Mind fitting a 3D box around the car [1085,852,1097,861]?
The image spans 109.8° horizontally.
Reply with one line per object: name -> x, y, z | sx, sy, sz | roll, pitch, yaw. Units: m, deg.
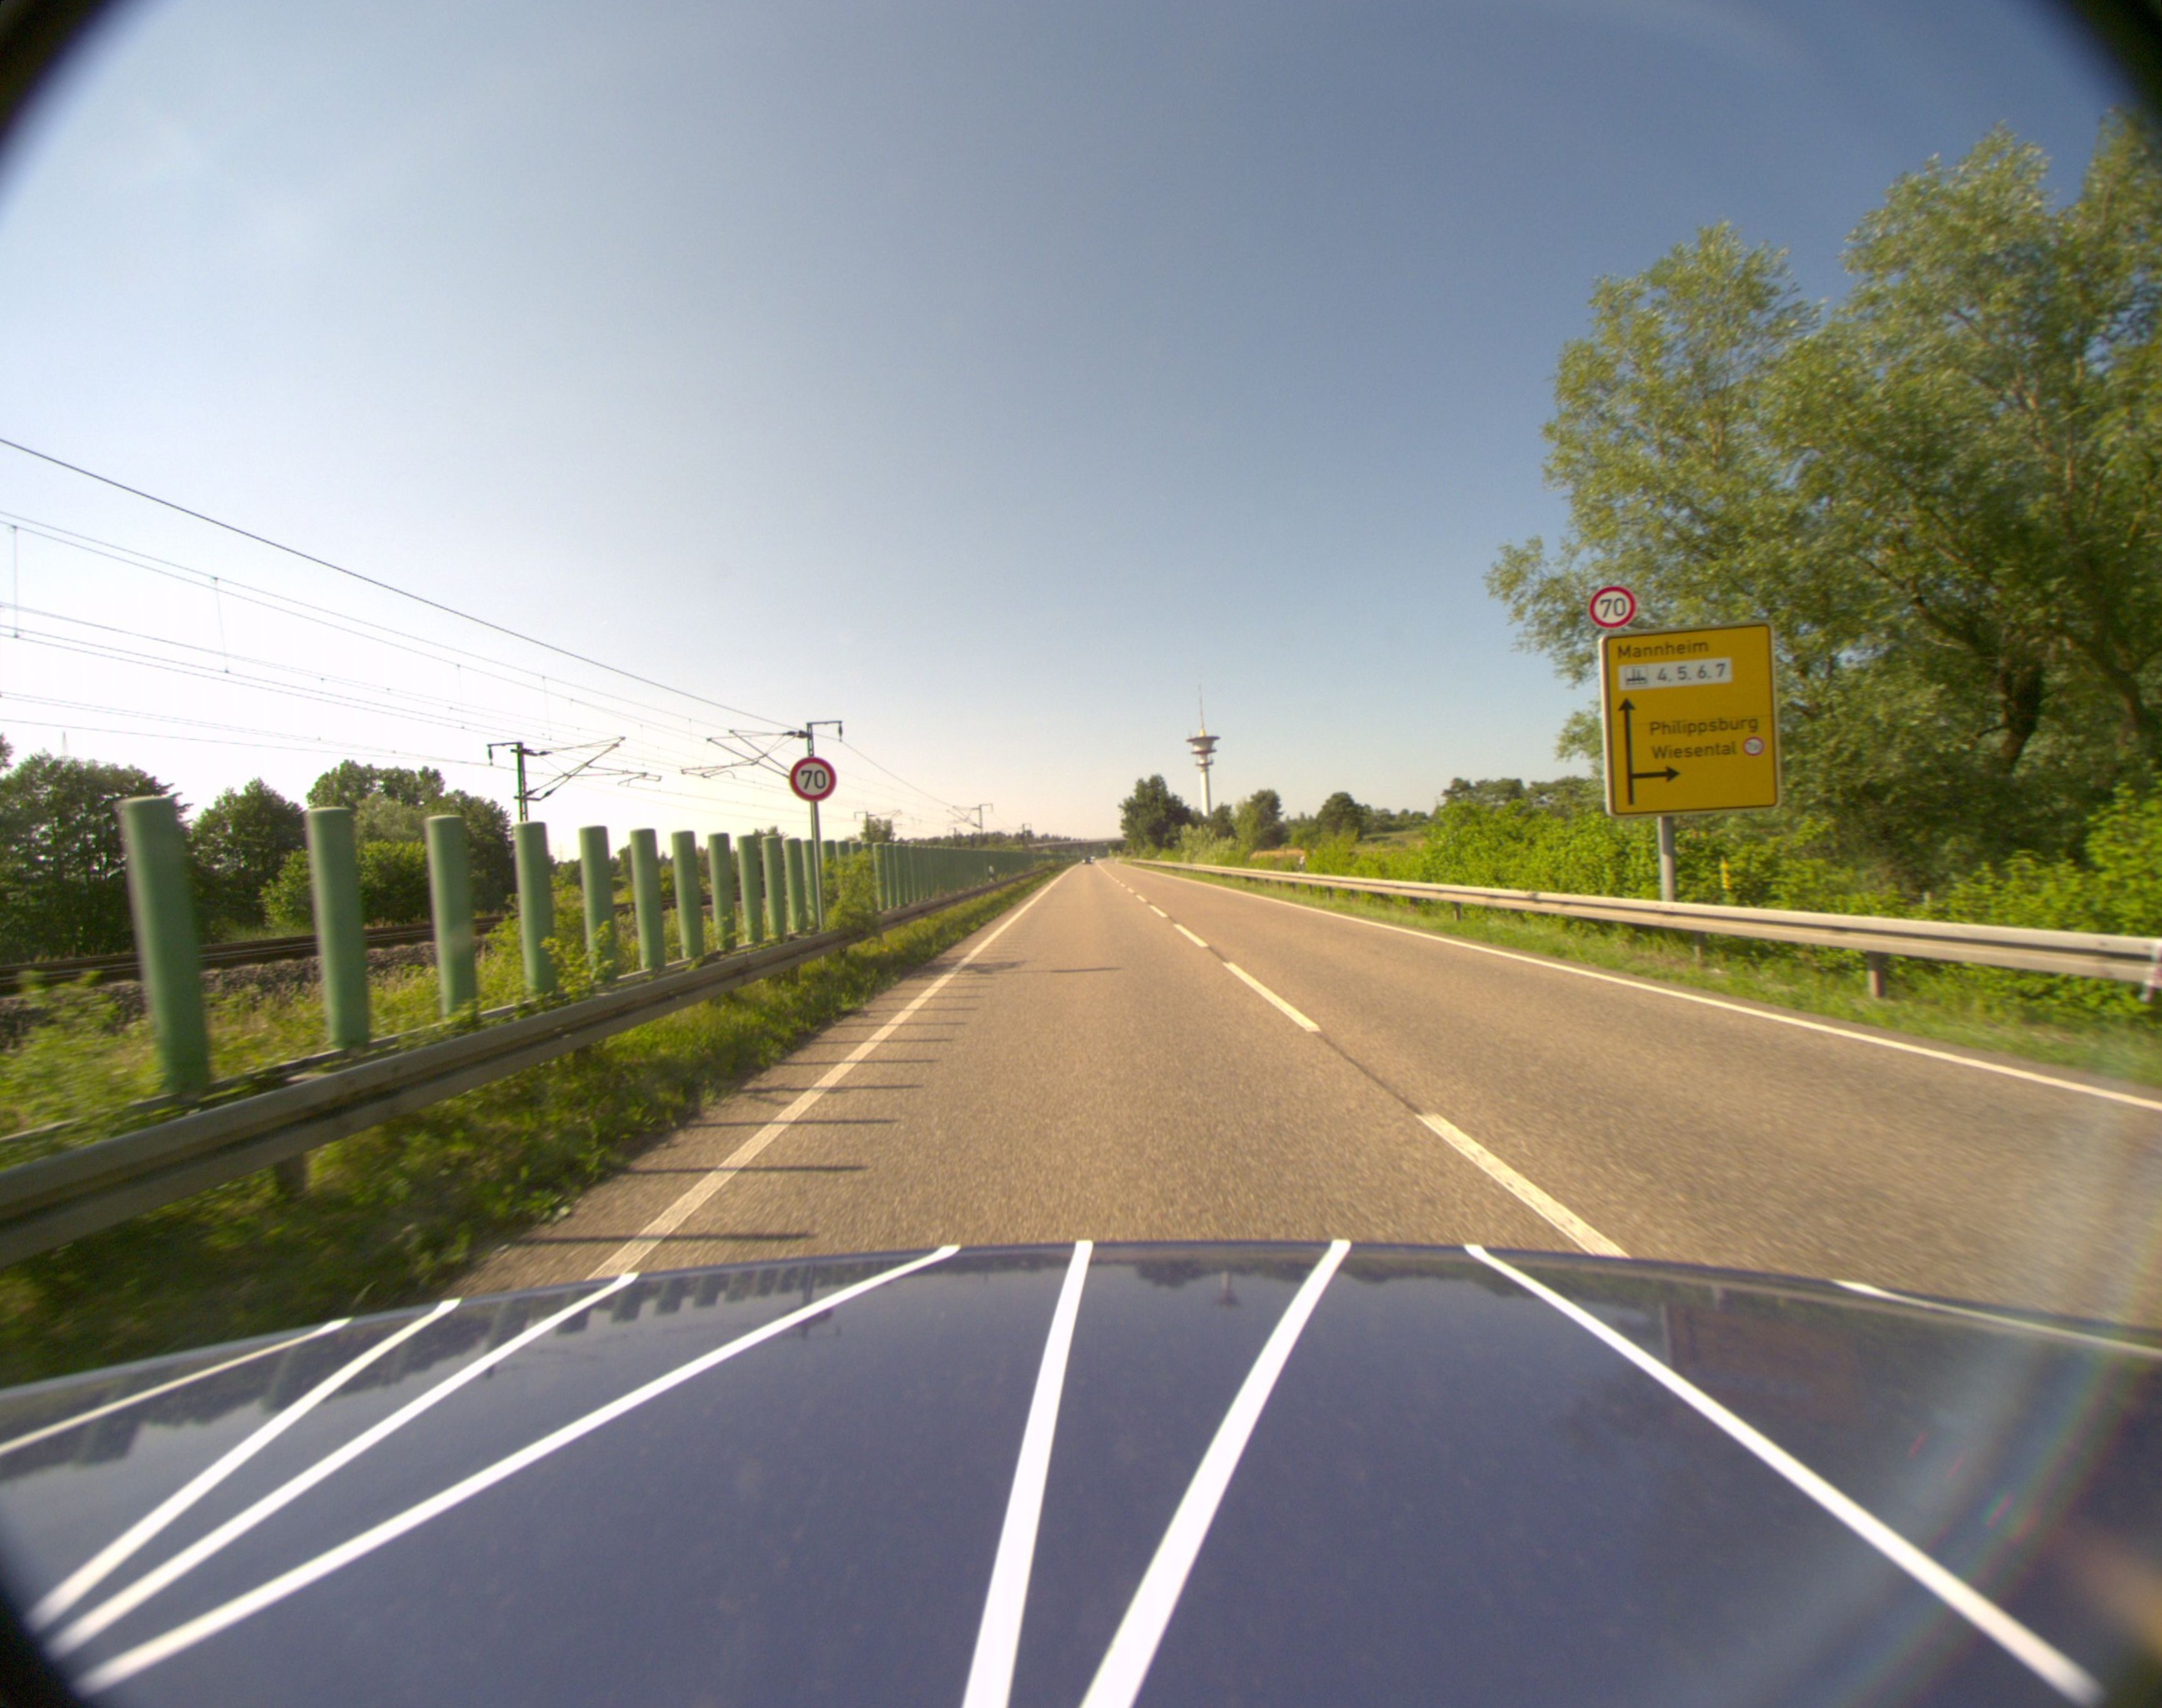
car -> 1.864, 0.518, 139.445 | 1.868, 1.533, 4.076 | -2, 0, 3
